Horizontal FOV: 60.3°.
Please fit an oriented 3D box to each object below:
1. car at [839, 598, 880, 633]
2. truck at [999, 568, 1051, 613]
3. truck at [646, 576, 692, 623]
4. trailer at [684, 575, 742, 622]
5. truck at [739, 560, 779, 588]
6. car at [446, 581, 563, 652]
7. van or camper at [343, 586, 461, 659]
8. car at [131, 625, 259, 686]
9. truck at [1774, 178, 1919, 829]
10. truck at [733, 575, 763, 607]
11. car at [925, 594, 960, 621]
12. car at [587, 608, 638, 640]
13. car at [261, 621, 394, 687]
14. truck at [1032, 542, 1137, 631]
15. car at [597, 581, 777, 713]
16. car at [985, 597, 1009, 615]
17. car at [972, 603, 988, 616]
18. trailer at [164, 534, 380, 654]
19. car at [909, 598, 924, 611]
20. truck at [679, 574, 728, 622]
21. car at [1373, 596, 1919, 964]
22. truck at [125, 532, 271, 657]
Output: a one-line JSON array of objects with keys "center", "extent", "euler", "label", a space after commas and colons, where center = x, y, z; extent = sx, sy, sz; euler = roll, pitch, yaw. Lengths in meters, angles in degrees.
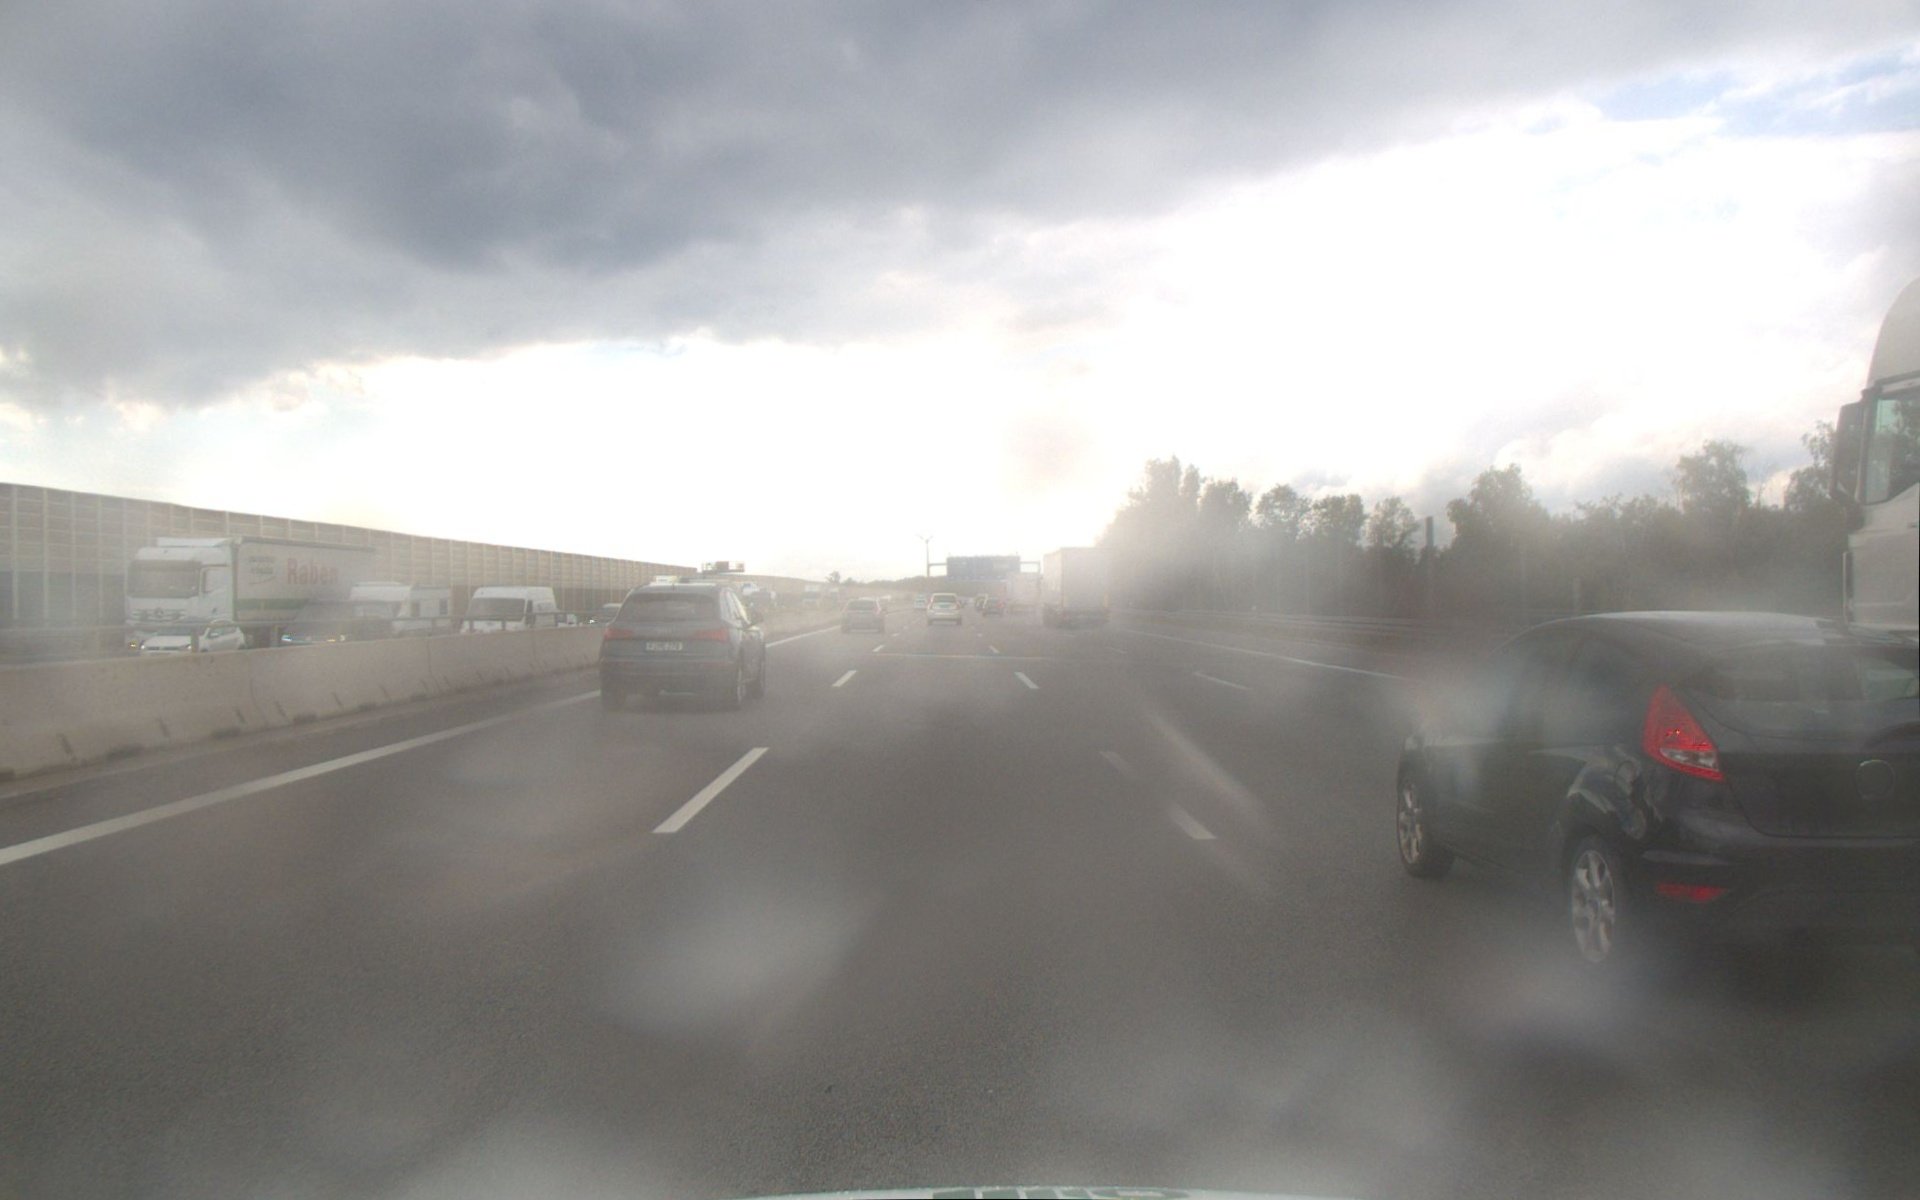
[{"center": [-4.344, 0.644, 71.425], "extent": [1.726, 1.393, 5.056], "euler": [0, 1, -4], "label": "car"}, {"center": [6.361, -0.996, 164.148], "extent": [4.158, 4.249, 11.985], "euler": [1, 0, -2], "label": "truck"}, {"center": [-26.872, -0.091, 153.002], "extent": [2.655, 4.146, 8.913], "euler": [1, 0, -1], "label": "truck"}, {"center": [-22.283, -0.221, 150.069], "extent": [3.016, 4.003, 14.980], "euler": [1, 0, -1], "label": "trailer"}, {"center": [-25.429, -3.278, 210.306], "extent": [3.200, 3.410, 16.082], "euler": [1, 0, -1], "label": "truck"}, {"center": [-14.466, 0.476, 52.906], "extent": [2.115, 2.107, 6.013], "euler": [-1, 0, -1], "label": "car"}, {"center": [-21.908, 0.800, 65.330], "extent": [2.296, 2.687, 7.148], "euler": [-1, 0, -1], "label": "van or camper"}, {"center": [-21.679, 1.546, 47.059], "extent": [1.712, 1.552, 4.177], "euler": [-1, 0, -1], "label": "car"}, {"center": [7.519, -0.584, 8.882], "extent": [2.901, 4.090, 6.587], "euler": [0, 1, -2], "label": "truck"}, {"center": [-23.256, -1.033, 181.835], "extent": [2.274, 3.406, 8.352], "euler": [1, 0, -1], "label": "truck"}, {"center": [-0.992, 0.400, 93.240], "extent": [1.737, 1.466, 4.052], "euler": [0, 1, -4], "label": "car"}, {"center": [-18.679, 1.274, 89.117], "extent": [1.884, 1.627, 4.252], "euler": [-1, 0, -1], "label": "car"}, {"center": [-18.217, 1.521, 47.887], "extent": [2.037, 1.688, 4.801], "euler": [-1, 0, -1], "label": "car"}, {"center": [6.451, -0.738, 88.397], "extent": [4.096, 4.363, 12.607], "euler": [1, 0, -2], "label": "truck"}, {"center": [-3.842, 0.589, 24.156], "extent": [1.870, 1.720, 5.167], "euler": [0, 1, -1], "label": "car"}, {"center": [3.136, 0.490, 141.397], "extent": [1.799, 1.466, 4.054], "euler": [0, 1, -2], "label": "car"}, {"center": [2.384, 1.115, 200.812], "extent": [1.799, 1.466, 4.054], "euler": [0, 1, -2], "label": "car"}, {"center": [-25.715, -0.255, 62.915], "extent": [2.511, 4.003, 13.814], "euler": [1, 0, -1], "label": "trailer"}, {"center": [-5.264, 0.547, 201.234], "extent": [1.737, 1.466, 3.871], "euler": [0, 1, -3], "label": "car"}, {"center": [-22.212, -0.167, 143.594], "extent": [3.016, 4.003, 8.052], "euler": [1, 0, -1], "label": "truck"}, {"center": [3.208, 0.722, 8.281], "extent": [1.418, 1.466, 3.163], "euler": [0, 0, -2], "label": "car"}, {"center": [-25.626, -0.196, 55.898], "extent": [2.524, 4.003, 5.176], "euler": [1, 0, -1], "label": "truck"}]
